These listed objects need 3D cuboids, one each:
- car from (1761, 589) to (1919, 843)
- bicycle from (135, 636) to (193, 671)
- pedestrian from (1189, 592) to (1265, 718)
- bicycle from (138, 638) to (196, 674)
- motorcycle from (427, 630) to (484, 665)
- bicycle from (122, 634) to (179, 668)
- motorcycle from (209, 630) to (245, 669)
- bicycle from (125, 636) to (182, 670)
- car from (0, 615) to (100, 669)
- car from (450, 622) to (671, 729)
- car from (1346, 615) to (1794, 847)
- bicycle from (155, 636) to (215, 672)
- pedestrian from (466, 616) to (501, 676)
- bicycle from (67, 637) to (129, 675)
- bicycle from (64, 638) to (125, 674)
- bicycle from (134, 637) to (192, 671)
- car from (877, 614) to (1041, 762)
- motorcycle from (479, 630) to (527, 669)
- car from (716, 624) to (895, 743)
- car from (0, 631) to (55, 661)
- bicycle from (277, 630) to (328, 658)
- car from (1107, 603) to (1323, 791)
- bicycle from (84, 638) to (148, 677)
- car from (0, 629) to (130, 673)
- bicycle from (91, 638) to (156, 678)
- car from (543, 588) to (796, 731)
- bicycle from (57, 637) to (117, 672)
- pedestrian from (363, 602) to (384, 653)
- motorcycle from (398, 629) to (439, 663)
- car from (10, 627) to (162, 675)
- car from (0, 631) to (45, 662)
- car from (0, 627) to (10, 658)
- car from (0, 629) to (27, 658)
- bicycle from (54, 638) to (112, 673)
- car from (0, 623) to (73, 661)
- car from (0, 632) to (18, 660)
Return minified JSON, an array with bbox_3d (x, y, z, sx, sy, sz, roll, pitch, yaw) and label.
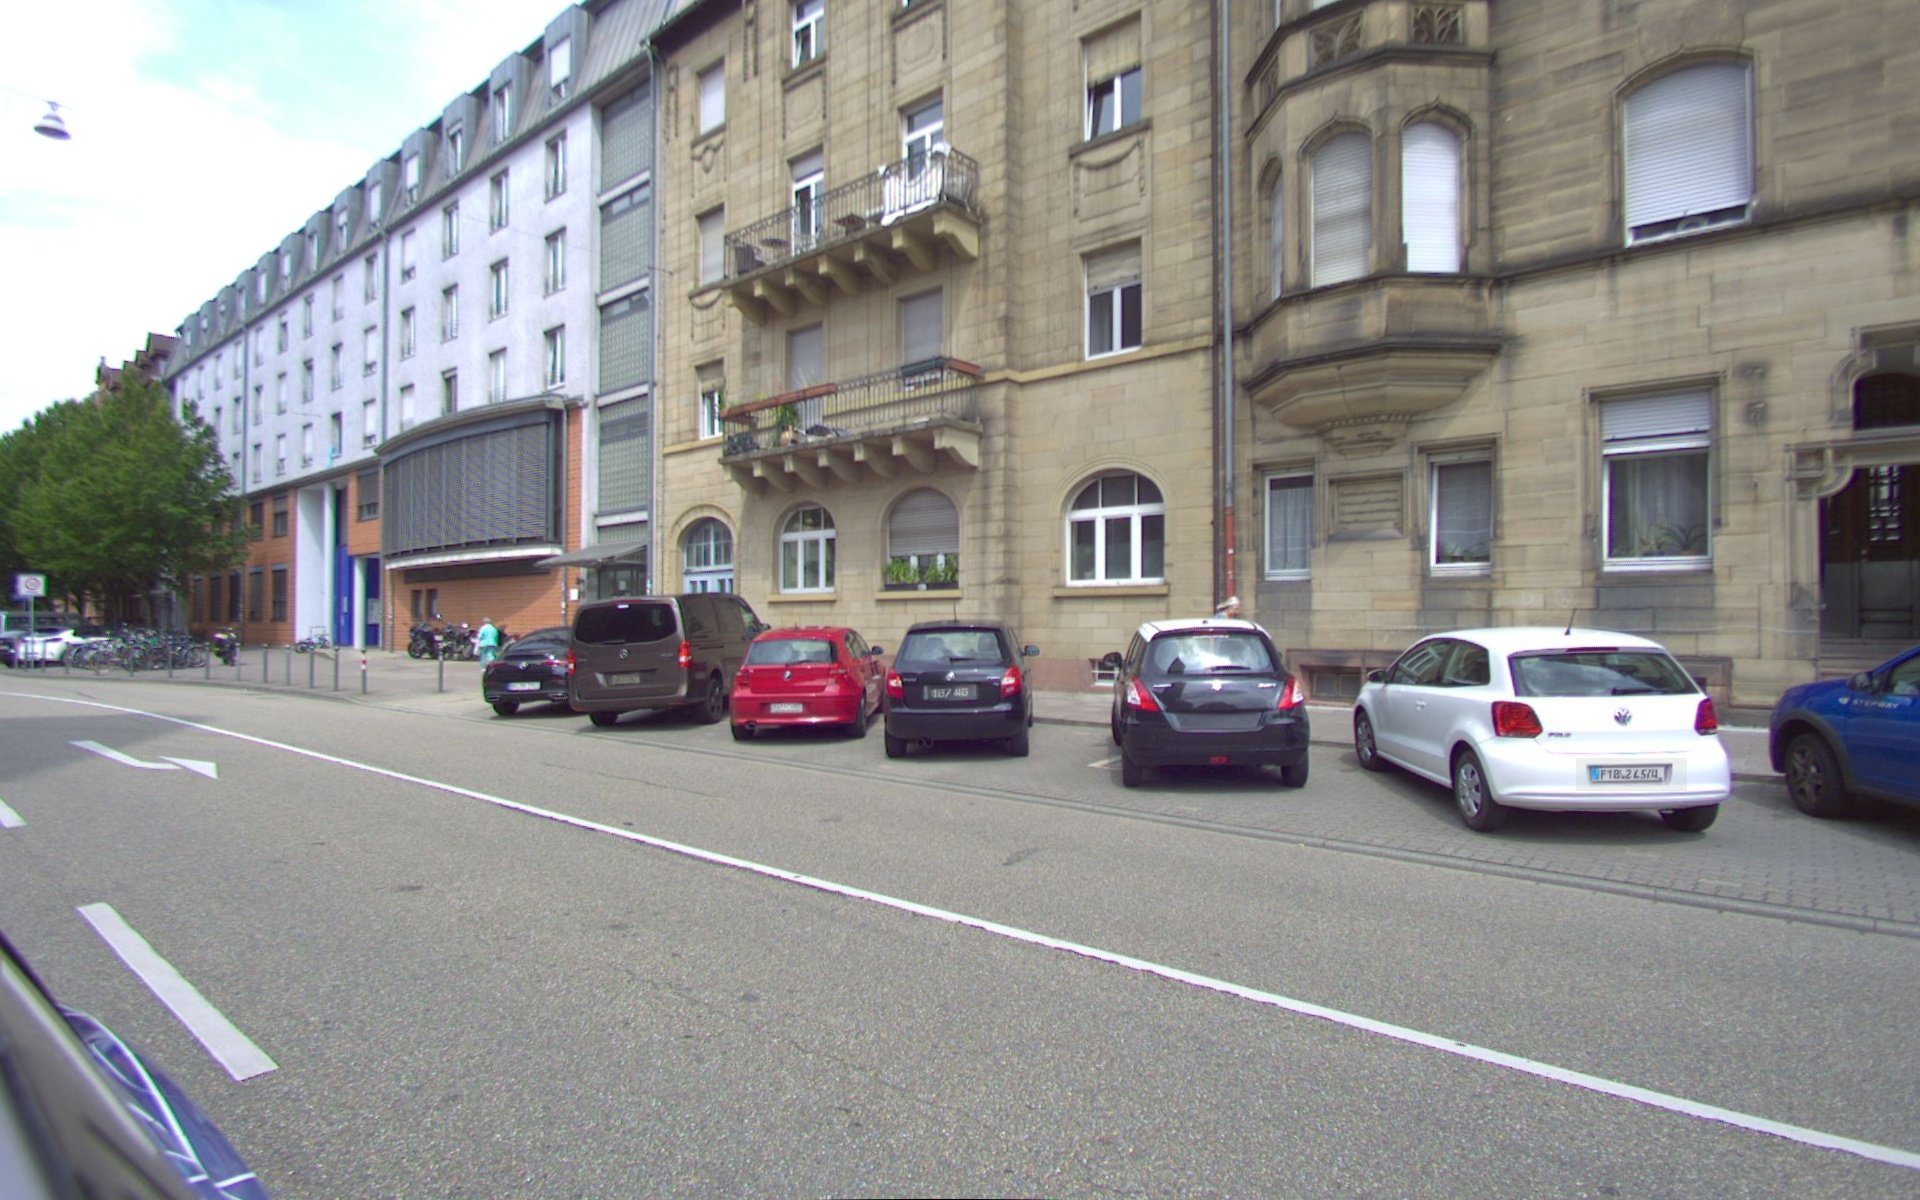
[{"bbox_3d":[7.095,0.743,6.096,1.703,1.664,3.772,-1,-2,5],"label":"car"},{"bbox_3d":[-24.915,1.675,31.684,0.402,1.034,1.390,-2,-2,43],"label":"bicycle"},{"bbox_3d":[3.571,0.708,13.519,0.678,1.607,0.783,-2,0,41],"label":"pedestrian"},{"bbox_3d":[-24.527,1.717,31.312,0.402,1.034,1.390,-2,-2,43],"label":"bicycle"},{"bbox_3d":[-15.744,1.478,31.566,1.959,1.057,0.579,-2,-1,30],"label":"motorcycle"},{"bbox_3d":[-26.273,1.641,32.849,0.402,1.034,1.390,-2,-2,43],"label":"bicycle"},{"bbox_3d":[-23.095,1.540,31.861,1.779,1.181,0.577,-2,-1,43],"label":"motorcycle"},{"bbox_3d":[-25.907,1.705,32.528,0.402,1.034,1.390,-2,-2,43],"label":"bicycle"},{"bbox_3d":[-37.026,1.639,40.313,1.841,2.013,3.993,-1,0,10],"label":"car"},{"bbox_3d":[-6.785,1.208,17.839,1.874,1.420,4.669,-2,1,2],"label":"car"},{"bbox_3d":[4.671,0.903,8.465,1.720,1.493,3.680,-1,-2,5],"label":"car"},{"bbox_3d":[-23.462,1.629,30.647,0.402,1.034,1.390,-2,-2,43],"label":"bicycle"},{"bbox_3d":[-12.135,1.170,25.761,0.509,1.497,0.653,-2,-2,43],"label":"pedestrian"},{"bbox_3d":[-26.500,1.711,31.131,0.402,1.046,1.391,-2,0,43],"label":"bicycle"},{"bbox_3d":[-26.984,1.735,31.552,0.402,1.034,1.391,-2,0,43],"label":"bicycle"},{"bbox_3d":[-25.237,1.697,32.053,0.402,1.034,1.390,-2,-2,43],"label":"bicycle"},{"bbox_3d":[0.143,0.957,12.446,1.611,1.514,3.989,-1,-2,6],"label":"car"},{"bbox_3d":[-13.090,1.402,28.977,1.793,1.057,0.577,-2,-1,42],"label":"motorcycle"},{"bbox_3d":[-1.982,1.056,14.107,1.772,1.420,4.009,0,-2,2],"label":"car"},{"bbox_3d":[-45.354,2.188,47.712,1.577,1.400,3.996,-1,-2,7],"label":"car"},{"bbox_3d":[-26.065,1.732,40.115,1.590,0.933,0.933,-6,2,-37],"label":"bicycle"},{"bbox_3d":[2.469,0.875,10.629,1.776,1.576,4.001,-1,-2,9],"label":"car"},{"bbox_3d":[-24.922,1.682,29.897,0.402,1.046,1.391,-2,0,43],"label":"bicycle"},{"bbox_3d":[-32.672,1.805,36.470,1.697,1.480,4.307,-1,-2,7],"label":"car"},{"bbox_3d":[-24.233,1.664,29.331,0.402,1.046,1.391,-2,0,43],"label":"bicycle"},{"bbox_3d":[-4.376,0.875,16.335,2.096,1.924,5.260,-1,-2,7],"label":"car"},{"bbox_3d":[-27.931,1.740,32.401,0.402,1.034,1.391,-2,0,43],"label":"bicycle"},{"bbox_3d":[-23.621,1.105,40.762,0.718,2.029,0.785,1,-2,-29],"label":"pedestrian"},{"bbox_3d":[-17.678,1.491,33.024,1.655,1.057,0.577,-2,-1,40],"label":"motorcycle"},{"bbox_3d":[-30.345,1.737,35.293,1.583,1.557,3.997,-1,-2,7],"label":"car"},{"bbox_3d":[-47.094,2.258,49.019,1.671,1.465,3.996,-1,-2,7],"label":"car"},{"bbox_3d":[-59.748,2.591,60.601,1.671,1.872,4.035,-1,-2,7],"label":"car"},{"bbox_3d":[-53.115,2.384,54.585,1.671,1.580,3.996,-1,-2,7],"label":"car"},{"bbox_3d":[-28.534,1.785,32.938,0.402,1.034,1.391,-2,0,43],"label":"bicycle"},{"bbox_3d":[-41.193,1.813,43.903,1.692,1.627,3.996,-1,-2,7],"label":"car"},{"bbox_3d":[-55.166,2.604,56.225,1.671,1.580,3.996,-1,-2,7],"label":"car"}]
